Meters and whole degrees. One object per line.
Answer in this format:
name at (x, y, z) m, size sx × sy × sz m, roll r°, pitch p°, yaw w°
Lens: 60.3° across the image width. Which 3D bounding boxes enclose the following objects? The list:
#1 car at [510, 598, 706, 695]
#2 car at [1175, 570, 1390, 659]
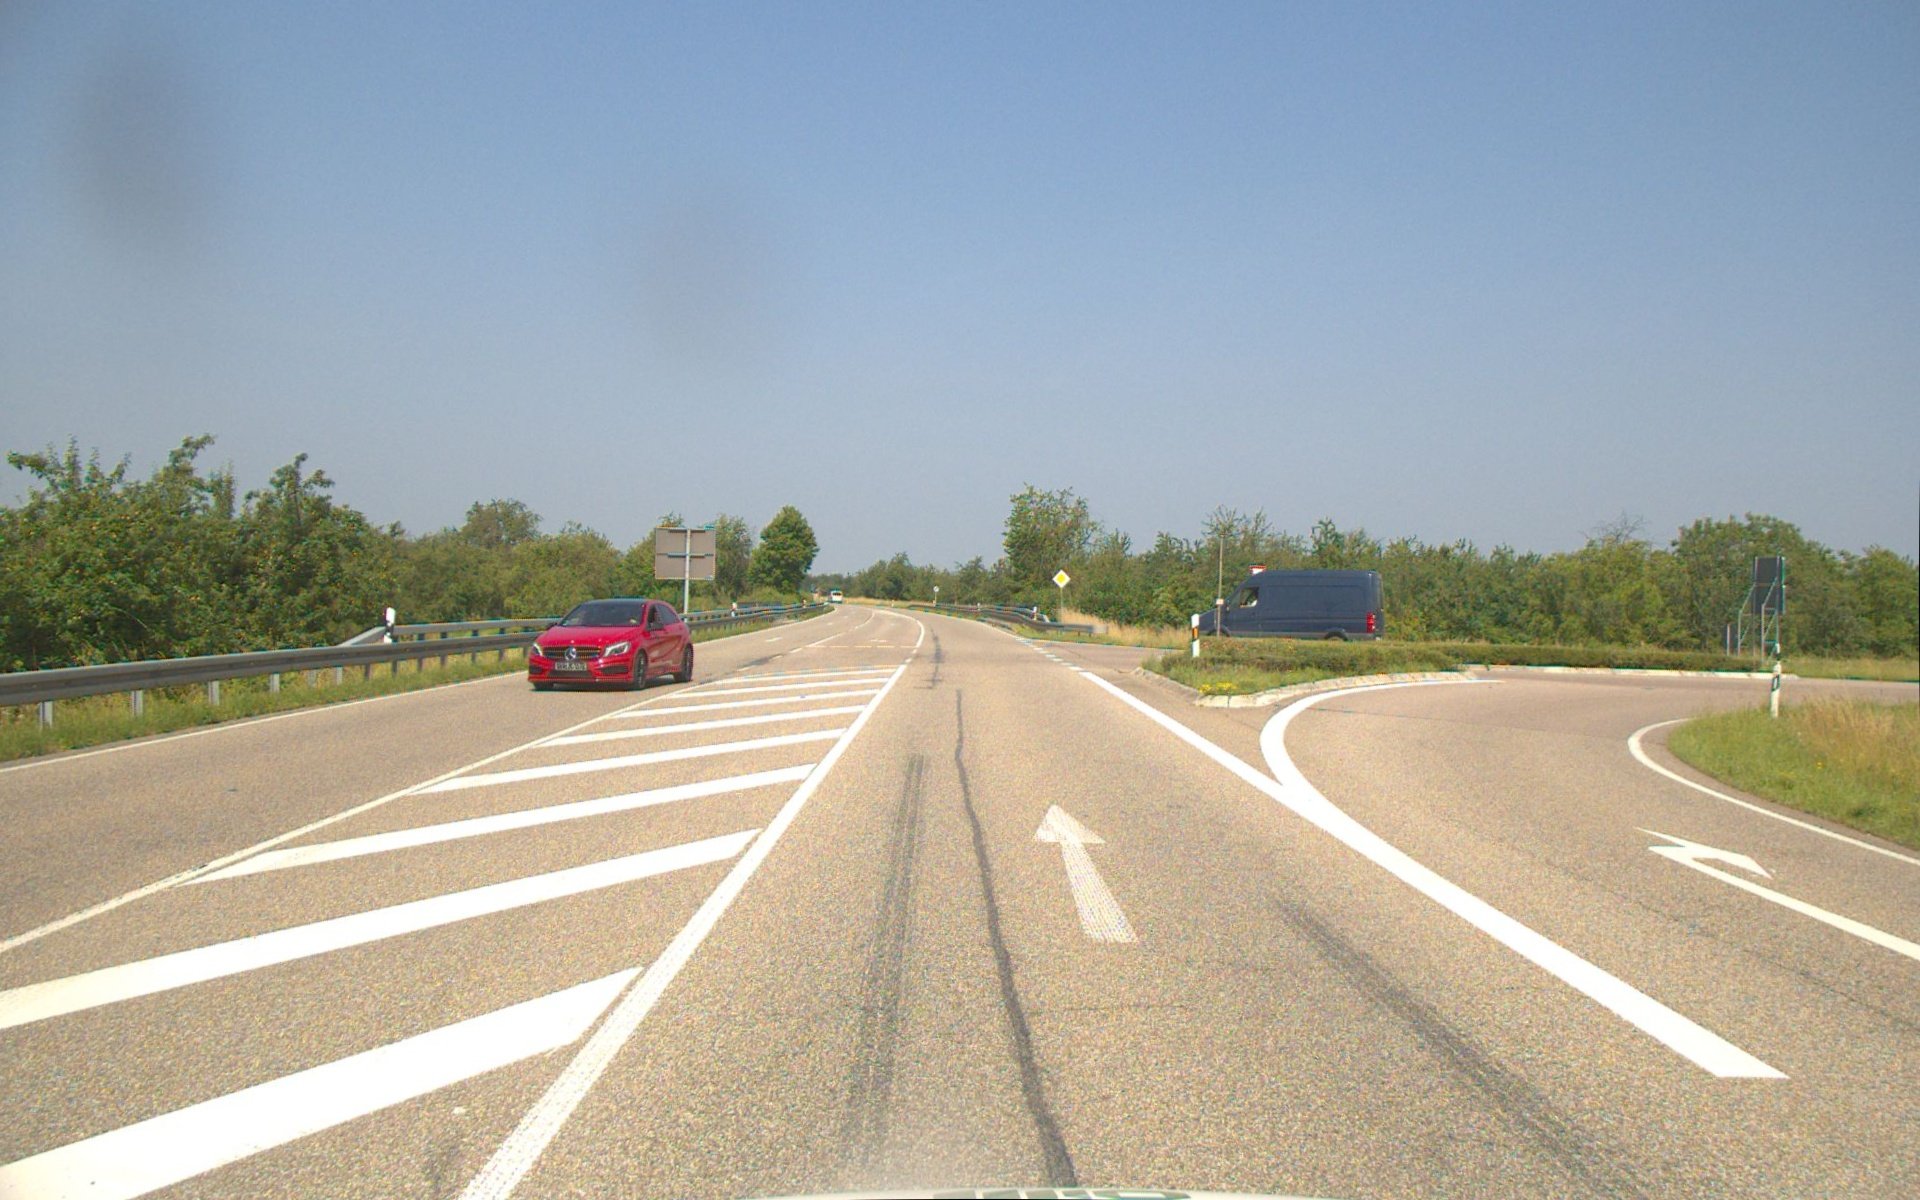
car at (-5.762, 0.723, 27.672) m, size 1.777 × 1.474 × 4.498 m, roll 1°, pitch 0°, yaw 8°
car at (9.852, 0.407, 50.615) m, size 6.164 × 2.620 × 2.062 m, roll 0°, pitch -1°, yaw 23°
